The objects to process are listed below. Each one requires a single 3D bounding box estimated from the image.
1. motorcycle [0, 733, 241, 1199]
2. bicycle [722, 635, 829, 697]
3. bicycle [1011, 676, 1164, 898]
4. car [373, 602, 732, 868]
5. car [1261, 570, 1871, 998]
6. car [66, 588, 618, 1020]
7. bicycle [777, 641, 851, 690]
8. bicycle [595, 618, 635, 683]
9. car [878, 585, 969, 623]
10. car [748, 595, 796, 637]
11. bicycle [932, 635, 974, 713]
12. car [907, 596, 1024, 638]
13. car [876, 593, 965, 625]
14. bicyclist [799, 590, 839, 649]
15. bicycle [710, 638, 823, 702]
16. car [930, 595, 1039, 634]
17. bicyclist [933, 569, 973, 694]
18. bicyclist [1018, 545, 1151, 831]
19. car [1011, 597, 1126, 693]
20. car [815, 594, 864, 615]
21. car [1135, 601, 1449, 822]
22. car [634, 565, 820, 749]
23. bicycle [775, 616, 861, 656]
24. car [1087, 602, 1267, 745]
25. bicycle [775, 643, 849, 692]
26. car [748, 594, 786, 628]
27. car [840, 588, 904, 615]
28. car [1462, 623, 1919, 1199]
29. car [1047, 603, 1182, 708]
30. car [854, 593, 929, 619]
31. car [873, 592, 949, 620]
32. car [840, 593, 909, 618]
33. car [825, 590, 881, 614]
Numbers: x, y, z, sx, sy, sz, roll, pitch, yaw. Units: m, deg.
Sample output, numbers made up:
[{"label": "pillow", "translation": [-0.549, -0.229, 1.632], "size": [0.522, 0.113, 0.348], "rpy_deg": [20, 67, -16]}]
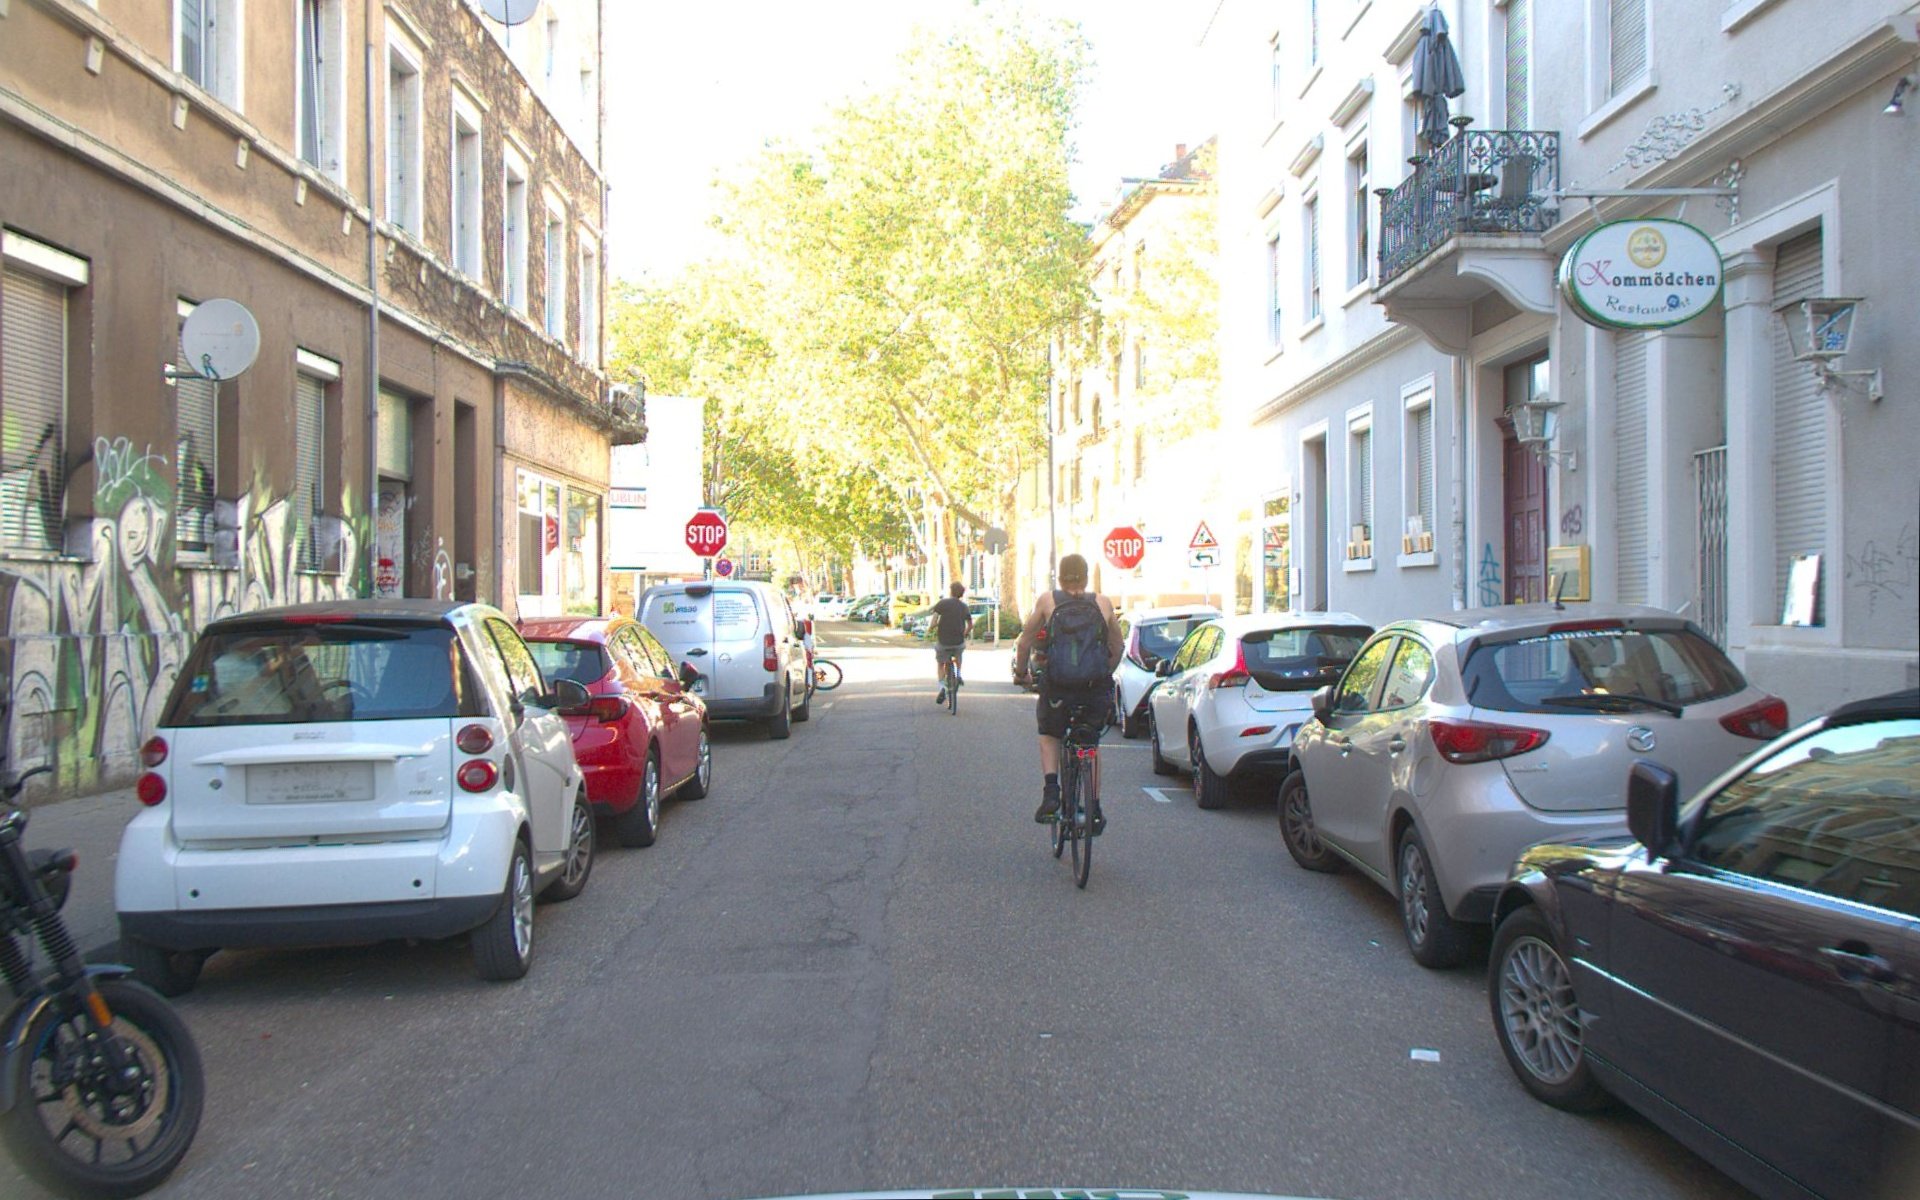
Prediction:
[{"label": "motorcycle", "translation": [-2.914, 0.947, 4.087], "size": [2.046, 1.148, 0.785], "rpy_deg": [1, 0, -23]}, {"label": "bicycle", "translation": [-3.068, 1.094, 27.502], "size": [1.734, 0.978, 0.480], "rpy_deg": [0, 0, -14]}, {"label": "bicycle", "translation": [0.680, 1.001, 9.407], "size": [0.675, 1.034, 1.907], "rpy_deg": [1, 0, -1]}, {"label": "car", "translation": [-2.702, 0.799, 11.906], "size": [1.645, 1.499, 4.201], "rpy_deg": [-2, 0, -2]}, {"label": "car", "translation": [2.734, 0.713, 8.516], "size": [1.644, 1.625, 4.190], "rpy_deg": [1, 0, 1]}, {"label": "car", "translation": [-2.635, 0.761, 7.745], "size": [1.646, 1.576, 2.957], "rpy_deg": [-1, 0, -5]}, {"label": "bicycle", "translation": [-2.588, 1.157, 29.292], "size": [1.285, 0.832, 0.354], "rpy_deg": [0, 0, -11]}, {"label": "bicycle", "translation": [-6.058, 0.870, 29.081], "size": [0.389, 1.111, 1.591], "rpy_deg": [0, -1, -1]}, {"label": "car", "translation": [-1.843, 0.186, 82.688], "size": [4.380, 1.868, 1.724], "rpy_deg": [0, 0, -10]}, {"label": "car", "translation": [-7.385, 0.594, 64.696], "size": [1.613, 1.520, 3.991], "rpy_deg": [-3, 1, -10]}, {"label": "bicycle", "translation": [-0.107, 1.025, 23.205], "size": [0.540, 1.034, 1.628], "rpy_deg": [1, -1, -2]}, {"label": "car", "translation": [0.214, 0.642, 64.857], "size": [4.379, 1.598, 1.725], "rpy_deg": [0, 0, -9]}, {"label": "car", "translation": [-2.025, 0.468, 84.695], "size": [4.379, 1.598, 1.725], "rpy_deg": [0, 0, -9]}, {"label": "bicyclist", "translation": [-4.016, 0.562, 47.027], "size": [1.076, 1.668, 0.894], "rpy_deg": [0, -1, -8]}, {"label": "bicycle", "translation": [-3.050, 1.100, 26.117], "size": [1.729, 0.978, 0.405], "rpy_deg": [0, 0, -3]}, {"label": "car", "translation": [1.029, 0.589, 69.846], "size": [4.379, 1.598, 1.725], "rpy_deg": [0, 0, -9]}, {"label": "bicyclist", "translation": [-0.100, 0.434, 23.169], "size": [0.531, 1.717, 0.653], "rpy_deg": [1, -1, -2]}, {"label": "bicyclist", "translation": [0.689, 0.478, 9.326], "size": [0.662, 1.539, 0.668], "rpy_deg": [1, 0, -1]}, {"label": "car", "translation": [2.008, 0.806, 31.694], "size": [1.725, 1.691, 4.195], "rpy_deg": [1, 0, -3]}, {"label": "car", "translation": [-11.080, 0.411, 152.270], "size": [4.379, 1.931, 1.725], "rpy_deg": [0, 0, -9]}, {"label": "car", "translation": [2.597, 0.803, 13.899], "size": [1.645, 1.537, 4.188], "rpy_deg": [1, 0, -2]}, {"label": "car", "translation": [-2.763, 0.630, 20.564], "size": [1.645, 1.943, 4.518], "rpy_deg": [-3, 0, -1]}, {"label": "bicycle", "translation": [-4.046, 1.008, 47.011], "size": [2.377, 1.112, 0.894], "rpy_deg": [0, -1, -8]}, {"label": "car", "translation": [2.655, 0.849, 21.024], "size": [1.604, 1.614, 3.786], "rpy_deg": [1, 0, -3]}, {"label": "bicycle", "translation": [-2.654, 1.206, 29.667], "size": [1.285, 0.832, 0.370], "rpy_deg": [0, 0, -11]}, {"label": "car", "translation": [-9.409, 0.527, 80.527], "size": [1.635, 1.590, 3.991], "rpy_deg": [0, 0, -10]}, {"label": "car", "translation": [-6.256, 0.109, 117.798], "size": [4.379, 1.931, 1.725], "rpy_deg": [0, 0, -9]}, {"label": "car", "translation": [2.663, 0.810, 3.432], "size": [1.732, 1.419, 4.493], "rpy_deg": [1, 0, -2]}, {"label": "car", "translation": [2.424, 0.835, 26.779], "size": [1.612, 1.529, 3.952], "rpy_deg": [1, 0, -3]}, {"label": "car", "translation": [-4.195, 0.354, 101.068], "size": [4.379, 1.598, 1.725], "rpy_deg": [0, 0, -9]}, {"label": "car", "translation": [-2.918, 0.333, 98.023], "size": [4.379, 1.598, 1.725], "rpy_deg": [0, 0, -9]}, {"label": "car", "translation": [-5.582, 0.374, 108.171], "size": [4.379, 1.598, 1.725], "rpy_deg": [0, 0, -9]}, {"label": "car", "translation": [-8.603, 0.156, 133.164], "size": [4.379, 1.931, 1.725], "rpy_deg": [0, 0, -9]}]
